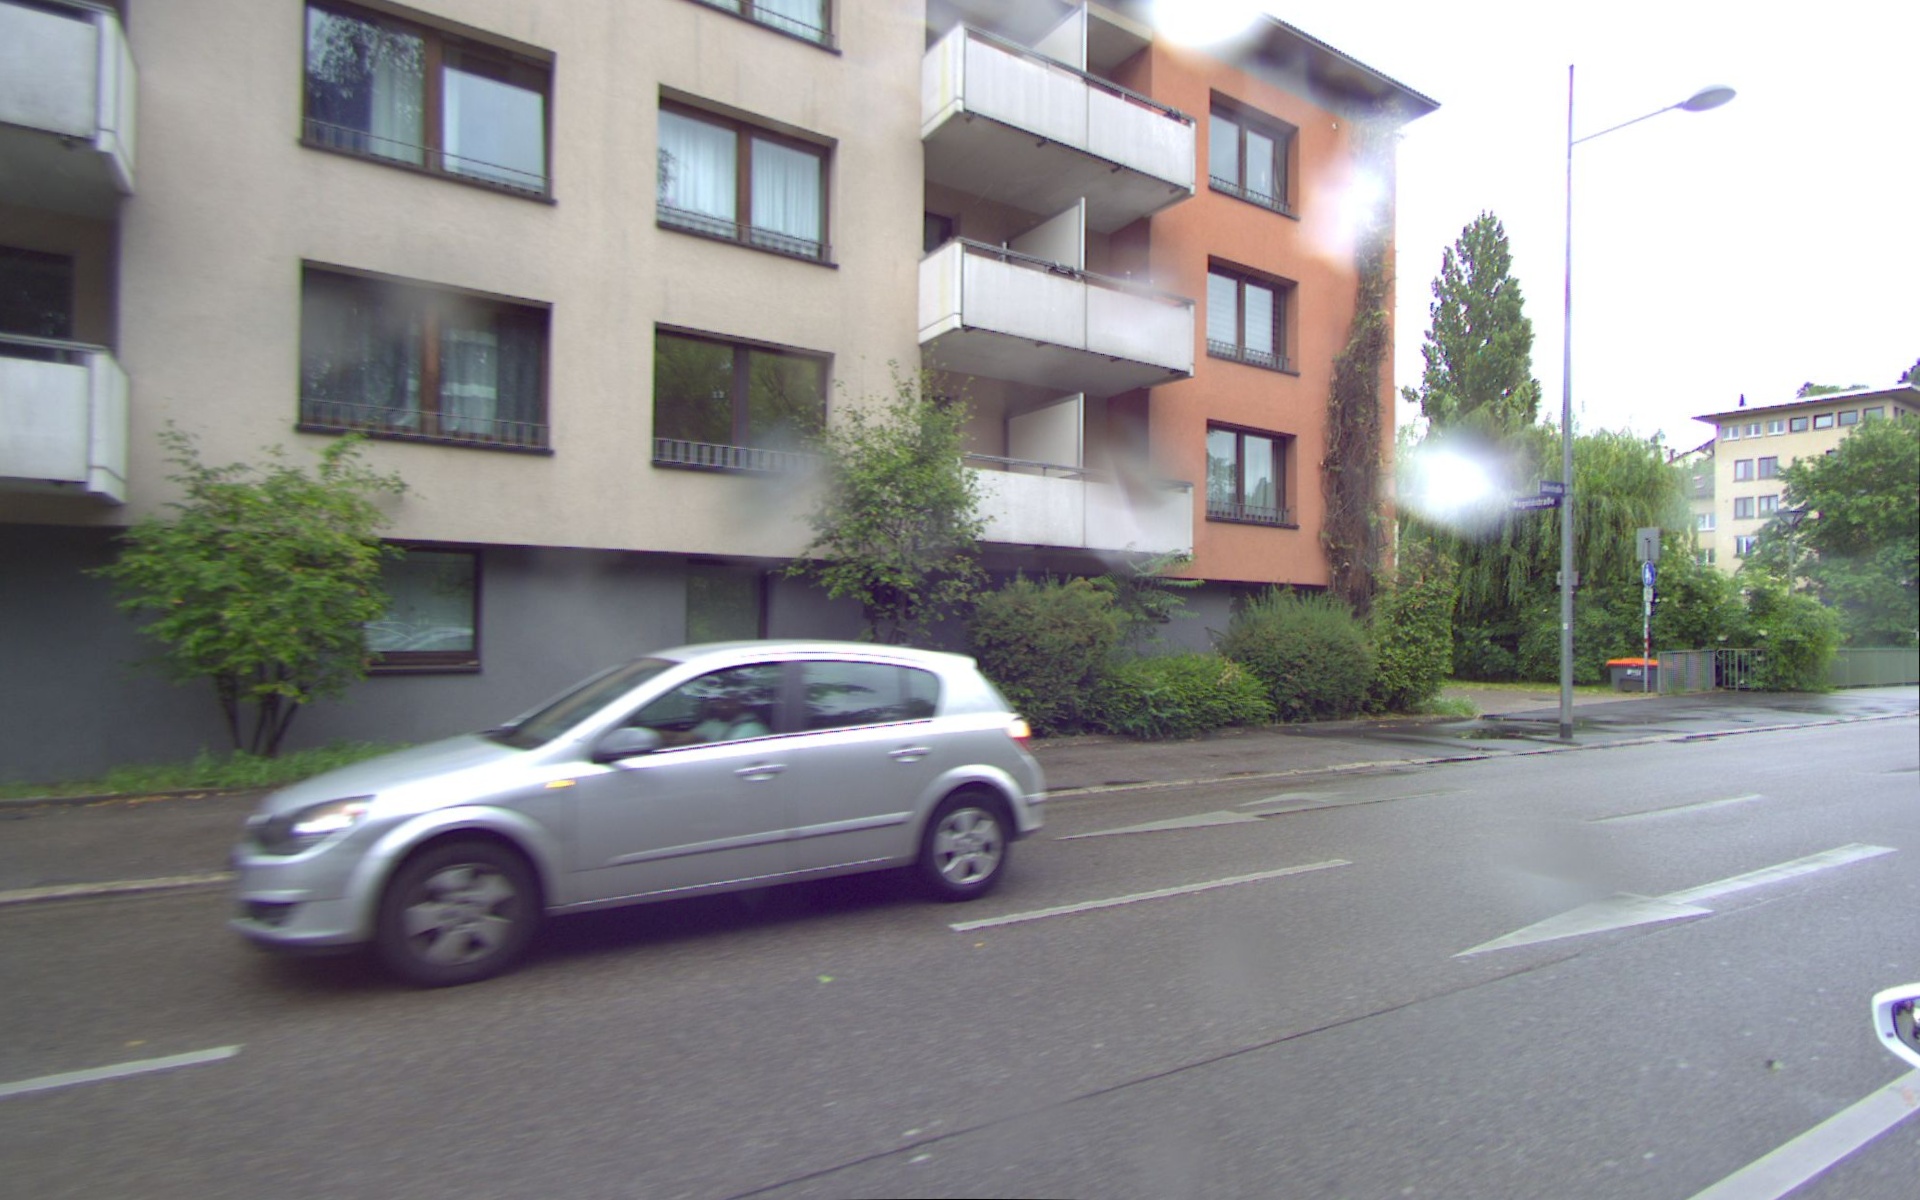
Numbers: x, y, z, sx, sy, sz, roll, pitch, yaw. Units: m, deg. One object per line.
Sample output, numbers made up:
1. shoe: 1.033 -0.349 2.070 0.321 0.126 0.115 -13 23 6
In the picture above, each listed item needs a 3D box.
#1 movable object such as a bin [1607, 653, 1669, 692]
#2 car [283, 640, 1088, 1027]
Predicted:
1. movable object such as a bin: 16.217 1.732 24.029 0.822 0.888 0.961 2 -2 -30
2. car: -1.387 0.961 5.697 4.005 1.434 1.803 1 -2 -33
